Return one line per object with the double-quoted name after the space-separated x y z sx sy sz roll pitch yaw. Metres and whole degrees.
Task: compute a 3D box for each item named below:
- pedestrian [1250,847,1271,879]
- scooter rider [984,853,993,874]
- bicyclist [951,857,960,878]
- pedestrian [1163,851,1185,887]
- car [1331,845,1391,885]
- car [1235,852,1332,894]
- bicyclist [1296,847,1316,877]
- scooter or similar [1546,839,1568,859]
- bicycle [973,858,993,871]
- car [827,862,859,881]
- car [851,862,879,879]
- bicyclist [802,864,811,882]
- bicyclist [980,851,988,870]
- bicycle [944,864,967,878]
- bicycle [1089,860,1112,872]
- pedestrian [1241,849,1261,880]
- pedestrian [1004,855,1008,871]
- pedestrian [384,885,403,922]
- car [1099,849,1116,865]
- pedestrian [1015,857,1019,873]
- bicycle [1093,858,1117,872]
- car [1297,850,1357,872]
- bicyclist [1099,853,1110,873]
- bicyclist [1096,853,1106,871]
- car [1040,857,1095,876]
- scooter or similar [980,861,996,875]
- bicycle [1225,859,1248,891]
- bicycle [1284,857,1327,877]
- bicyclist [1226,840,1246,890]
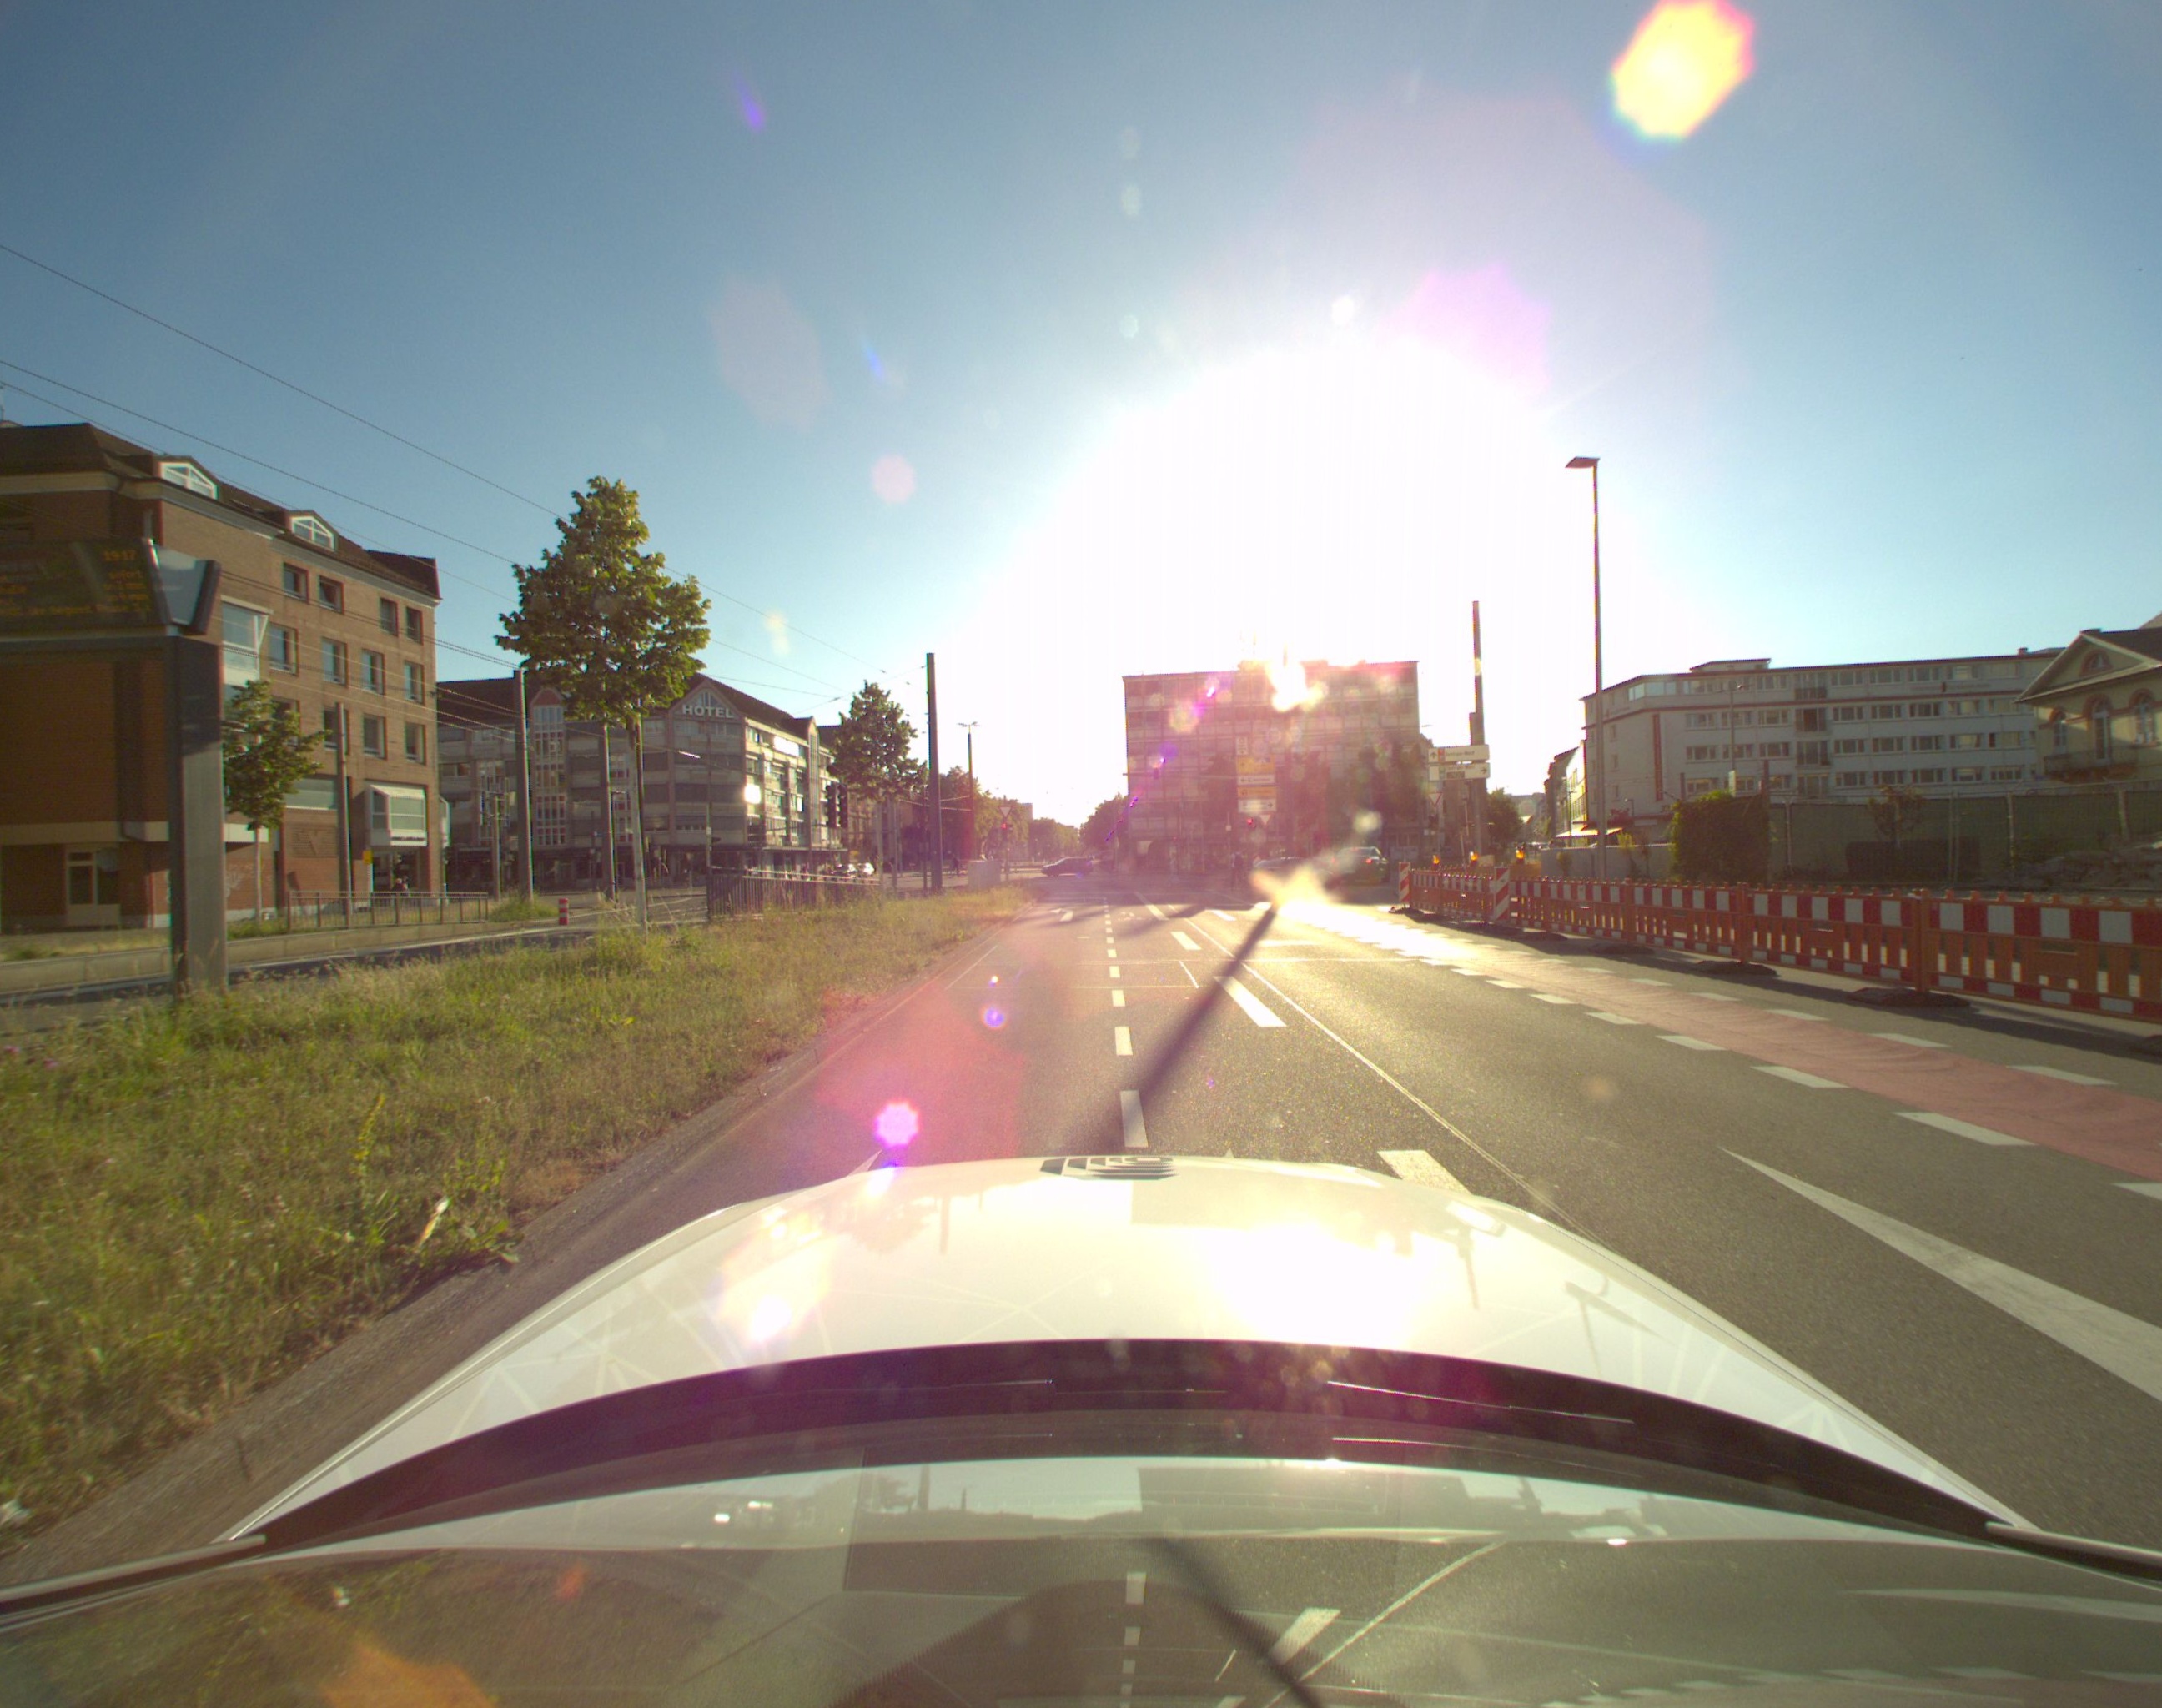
9.292 0.481 42.220 0.876 1.597 0.655 -2 0 -2 "pedestrian"
-7.439 0.756 65.468 0.663 1.712 0.525 -2 -1 -9 "scooter rider"
-10.431 1.092 67.759 0.663 1.712 0.537 -2 -1 -9 "bicyclist"
4.311 0.686 37.779 0.875 1.597 0.655 -2 0 0 "pedestrian"
12.845 0.448 37.239 1.975 1.693 4.025 0 1 28 "car"
7.804 0.702 31.136 4.023 1.426 1.727 -1 0 -45 "car"
12.699 0.428 45.981 0.954 1.661 0.692 -2 -1 4 "bicyclist"
25.992 -0.289 44.474 1.392 1.033 0.488 -2 0 -35 "scooter or similar"
-8.788 0.931 73.351 1.731 1.059 0.538 -2 0 -9 "bicycle"
-25.905 1.910 88.790 1.985 1.860 4.004 -2 0 3 "car"
-25.614 1.973 96.806 1.985 1.860 4.004 -2 0 3 "car"
-28.716 2.015 85.149 0.590 1.862 0.642 -2 0 2 "bicyclist"
-8.763 0.594 73.359 0.663 1.712 0.537 -2 -1 -9 "bicyclist"
-10.433 1.439 67.750 1.775 1.072 0.533 -2 0 -9 "bicycle"
1.961 1.180 81.436 2.169 1.137 0.658 -2 0 -4 "bicycle"
8.955 0.552 42.977 0.876 1.597 0.655 -2 0 -2 "pedestrian"
-7.307 0.854 79.239 0.365 1.508 0.542 -2 0 -6 "pedestrian"
-34.431 2.472 40.785 0.496 1.807 0.546 -3 0 29 "pedestrian"
4.219 0.510 131.580 2.477 2.392 5.934 -4 -1 1 "car"
-6.270 1.090 79.894 0.365 1.508 0.542 -2 0 -6 "pedestrian"
2.163 1.007 74.666 2.089 1.137 0.657 -2 0 -4 "bicycle"
20.120 0.595 66.774 4.315 1.596 2.001 -2 0 2 "car"
2.186 0.833 74.664 0.896 1.753 0.654 -2 0 -4 "bicyclist"
2.044 0.755 81.441 0.896 1.753 0.650 -2 0 -3 "bicyclist"
-1.076 0.983 64.356 4.000 1.288 1.835 -2 0 -20 "car"
-7.468 1.085 65.462 1.171 1.072 0.528 -2 0 -9 "scooter or similar"
6.369 0.833 33.456 0.642 1.223 2.049 0 1 2 "bicycle"
12.679 0.732 45.989 2.216 1.026 0.683 -2 0 4 "bicycle"
6.389 0.428 33.664 0.641 2.013 1.067 0 1 2 "bicyclist"
